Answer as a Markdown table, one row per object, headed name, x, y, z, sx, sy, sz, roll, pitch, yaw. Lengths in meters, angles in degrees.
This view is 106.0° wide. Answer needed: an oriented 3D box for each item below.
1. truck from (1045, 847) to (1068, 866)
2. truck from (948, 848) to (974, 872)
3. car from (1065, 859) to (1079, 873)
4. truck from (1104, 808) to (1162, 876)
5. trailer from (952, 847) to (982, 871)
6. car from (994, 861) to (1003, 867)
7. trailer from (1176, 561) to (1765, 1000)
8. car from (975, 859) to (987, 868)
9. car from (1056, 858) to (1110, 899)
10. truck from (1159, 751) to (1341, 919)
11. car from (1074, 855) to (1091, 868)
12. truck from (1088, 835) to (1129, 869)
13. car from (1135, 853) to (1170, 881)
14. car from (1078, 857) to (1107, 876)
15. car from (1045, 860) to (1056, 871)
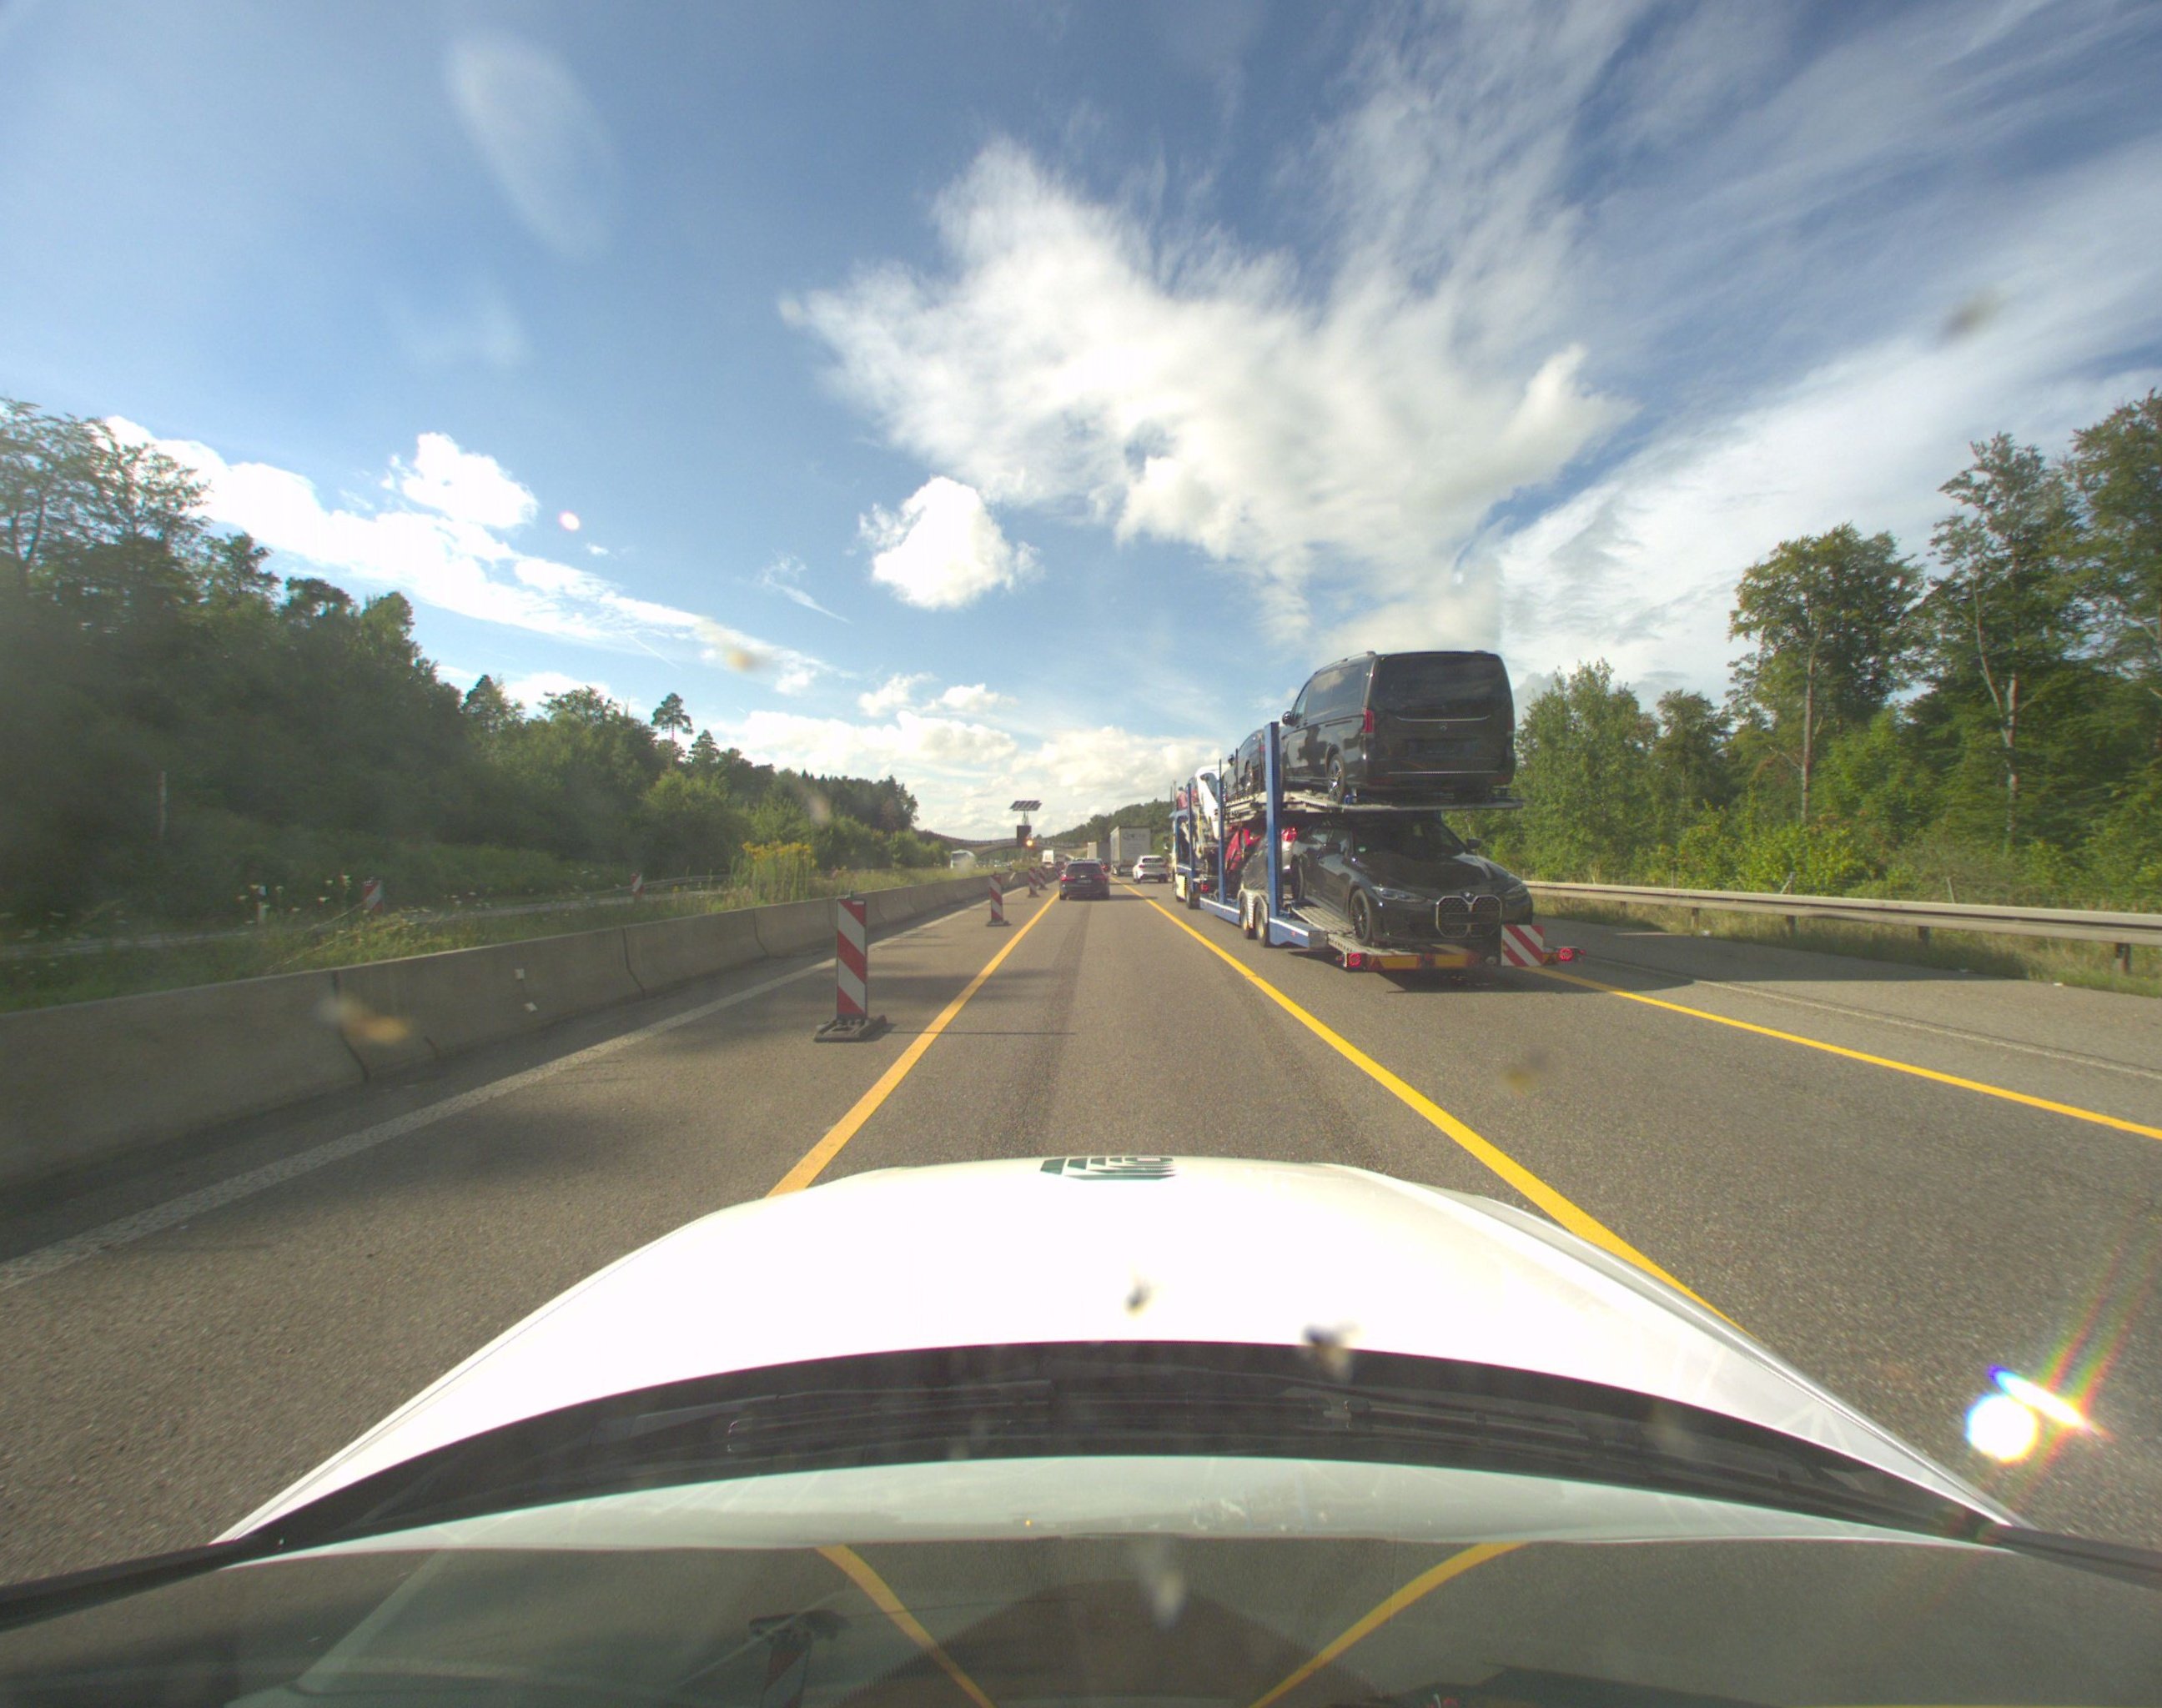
| name | x | y | z | sx | sy | sz | roll | pitch | yaw |
| --- | --- | --- | --- | --- | --- | --- | --- | --- | --- |
| truck | -5.289 | 0.561 | 174.331 | 3.652 | 3.928 | 11.033 | -1 | -1 | -9 |
| truck | -17.566 | 0.881 | 119.460 | 2.774 | 3.490 | 4.941 | -1 | -1 | 1 |
| car | -1.359 | 1.868 | 125.149 | 1.989 | 2.014 | 3.995 | -1 | -1 | -3 |
| truck | 4.370 | -0.899 | 72.895 | 3.668 | 5.353 | 16.189 | -1 | -1 | -2 |
| trailer | -17.442 | 0.852 | 125.615 | 2.792 | 3.490 | 11.115 | -1 | -1 | 1 |
| car | -23.531 | 2.883 | 232.502 | 1.771 | 1.602 | 4.019 | -1 | -1 | 2 |
| trailer | 4.702 | -0.642 | 15.972 | 3.714 | 4.196 | 16.222 | -1 | -1 | 0 |
| car | -19.365 | 1.830 | 157.559 | 1.771 | 1.602 | 4.019 | -1 | -1 | 2 |
| car | 0.136 | 0.899 | 30.902 | 1.883 | 1.446 | 4.001 | -1 | -1 | 2 |
| truck | 4.660 | -0.450 | 24.558 | 3.749 | 4.196 | 7.948 | -1 | -1 | 0 |
| car | 0.184 | 1.050 | 107.489 | 1.886 | 1.643 | 4.012 | -1 | -1 | -3 |
| truck | 3.814 | -0.210 | 117.863 | 4.314 | 4.600 | 11.099 | -1 | -1 | -6 |
| car | 4.364 | 0.779 | 50.115 | 1.883 | 1.643 | 4.019 | -1 | -1 | 2 |
| car | 0.899 | 0.966 | 65.136 | 1.887 | 1.446 | 3.993 | -1 | -1 | -5 |
| car | -5.947 | 2.201 | 159.457 | 1.991 | 2.014 | 3.991 | -1 | -1 | -6 |
